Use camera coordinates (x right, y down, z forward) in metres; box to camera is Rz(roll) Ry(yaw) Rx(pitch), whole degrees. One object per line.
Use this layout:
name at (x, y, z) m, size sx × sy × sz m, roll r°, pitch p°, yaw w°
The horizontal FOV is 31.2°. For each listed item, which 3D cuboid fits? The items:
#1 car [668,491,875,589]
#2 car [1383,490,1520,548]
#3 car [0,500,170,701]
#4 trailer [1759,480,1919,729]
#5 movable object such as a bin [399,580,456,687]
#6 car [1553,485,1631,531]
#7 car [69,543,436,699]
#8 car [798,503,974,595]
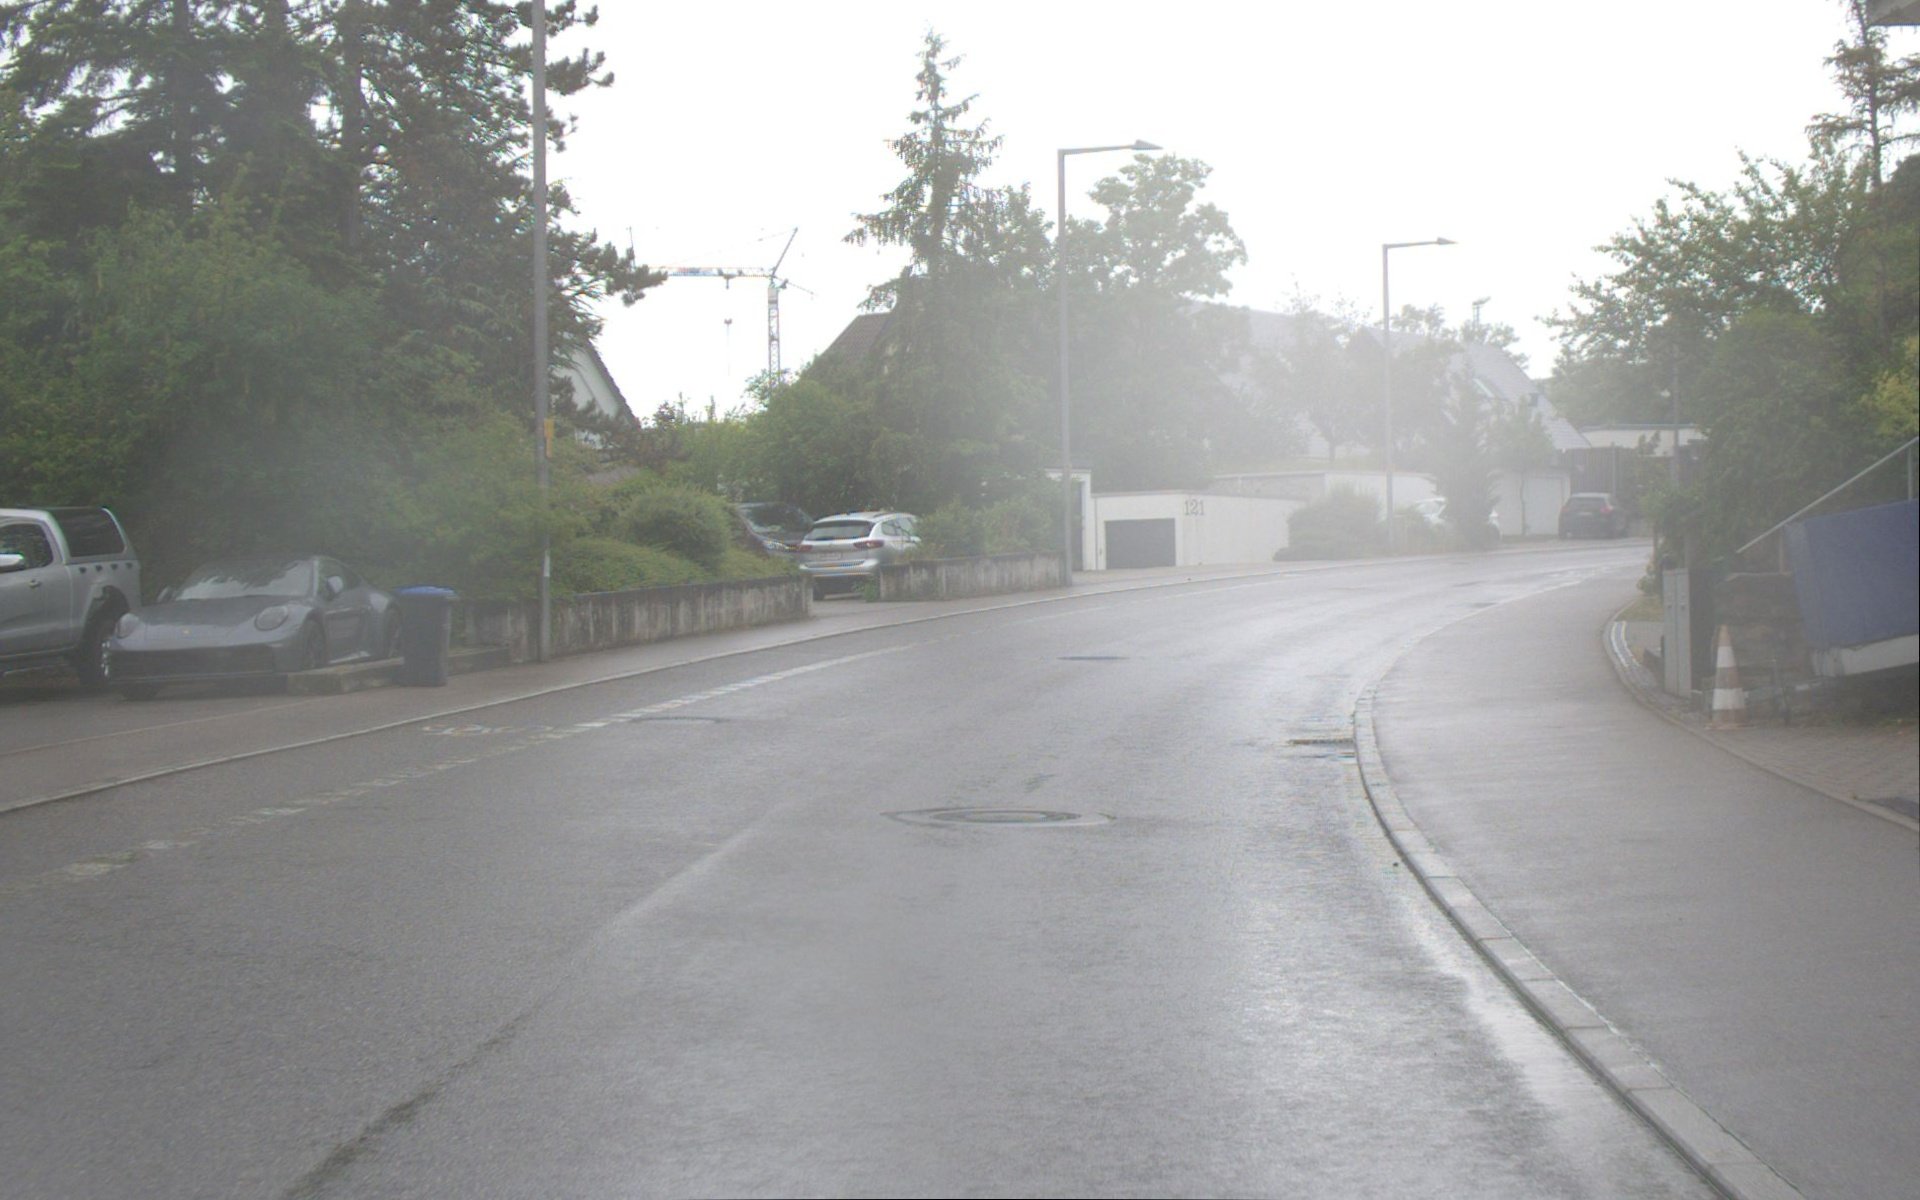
car at (-3.753, -1.179, 67.901) m, size 1.994 × 1.831 × 3.998 m, roll -3°, pitch 2°, yaw -41°
car at (14.054, -2.328, 98.088) m, size 1.709 × 1.548 × 4.378 m, roll 1°, pitch 2°, yaw 42°
car at (-9.557, -0.019, 32.863) m, size 1.994 × 1.837 × 5.477 m, roll -1°, pitch 1°, yaw 9°
trailer at (7.182, 0.002, 25.115) m, size 2.354 × 1.742 × 2.000 m, roll -1°, pitch 1°, yaw 5°
movable object such as a bin at (-5.003, 0.310, 32.299) m, size 0.370 × 0.985 × 0.558 m, roll -1°, pitch 1°, yaw 6°
car at (20.376, -2.979, 110.742) m, size 1.835 × 1.401 × 4.256 m, roll 0°, pitch 2°, yaw 19°
car at (-6.666, 0.158, 32.922) m, size 1.994 × 1.303 × 4.432 m, roll -1°, pitch 1°, yaw 9°
car at (-1.280, -0.930, 61.309) m, size 1.736 × 1.546 × 3.996 m, roll -1°, pitch 1°, yaw 21°
